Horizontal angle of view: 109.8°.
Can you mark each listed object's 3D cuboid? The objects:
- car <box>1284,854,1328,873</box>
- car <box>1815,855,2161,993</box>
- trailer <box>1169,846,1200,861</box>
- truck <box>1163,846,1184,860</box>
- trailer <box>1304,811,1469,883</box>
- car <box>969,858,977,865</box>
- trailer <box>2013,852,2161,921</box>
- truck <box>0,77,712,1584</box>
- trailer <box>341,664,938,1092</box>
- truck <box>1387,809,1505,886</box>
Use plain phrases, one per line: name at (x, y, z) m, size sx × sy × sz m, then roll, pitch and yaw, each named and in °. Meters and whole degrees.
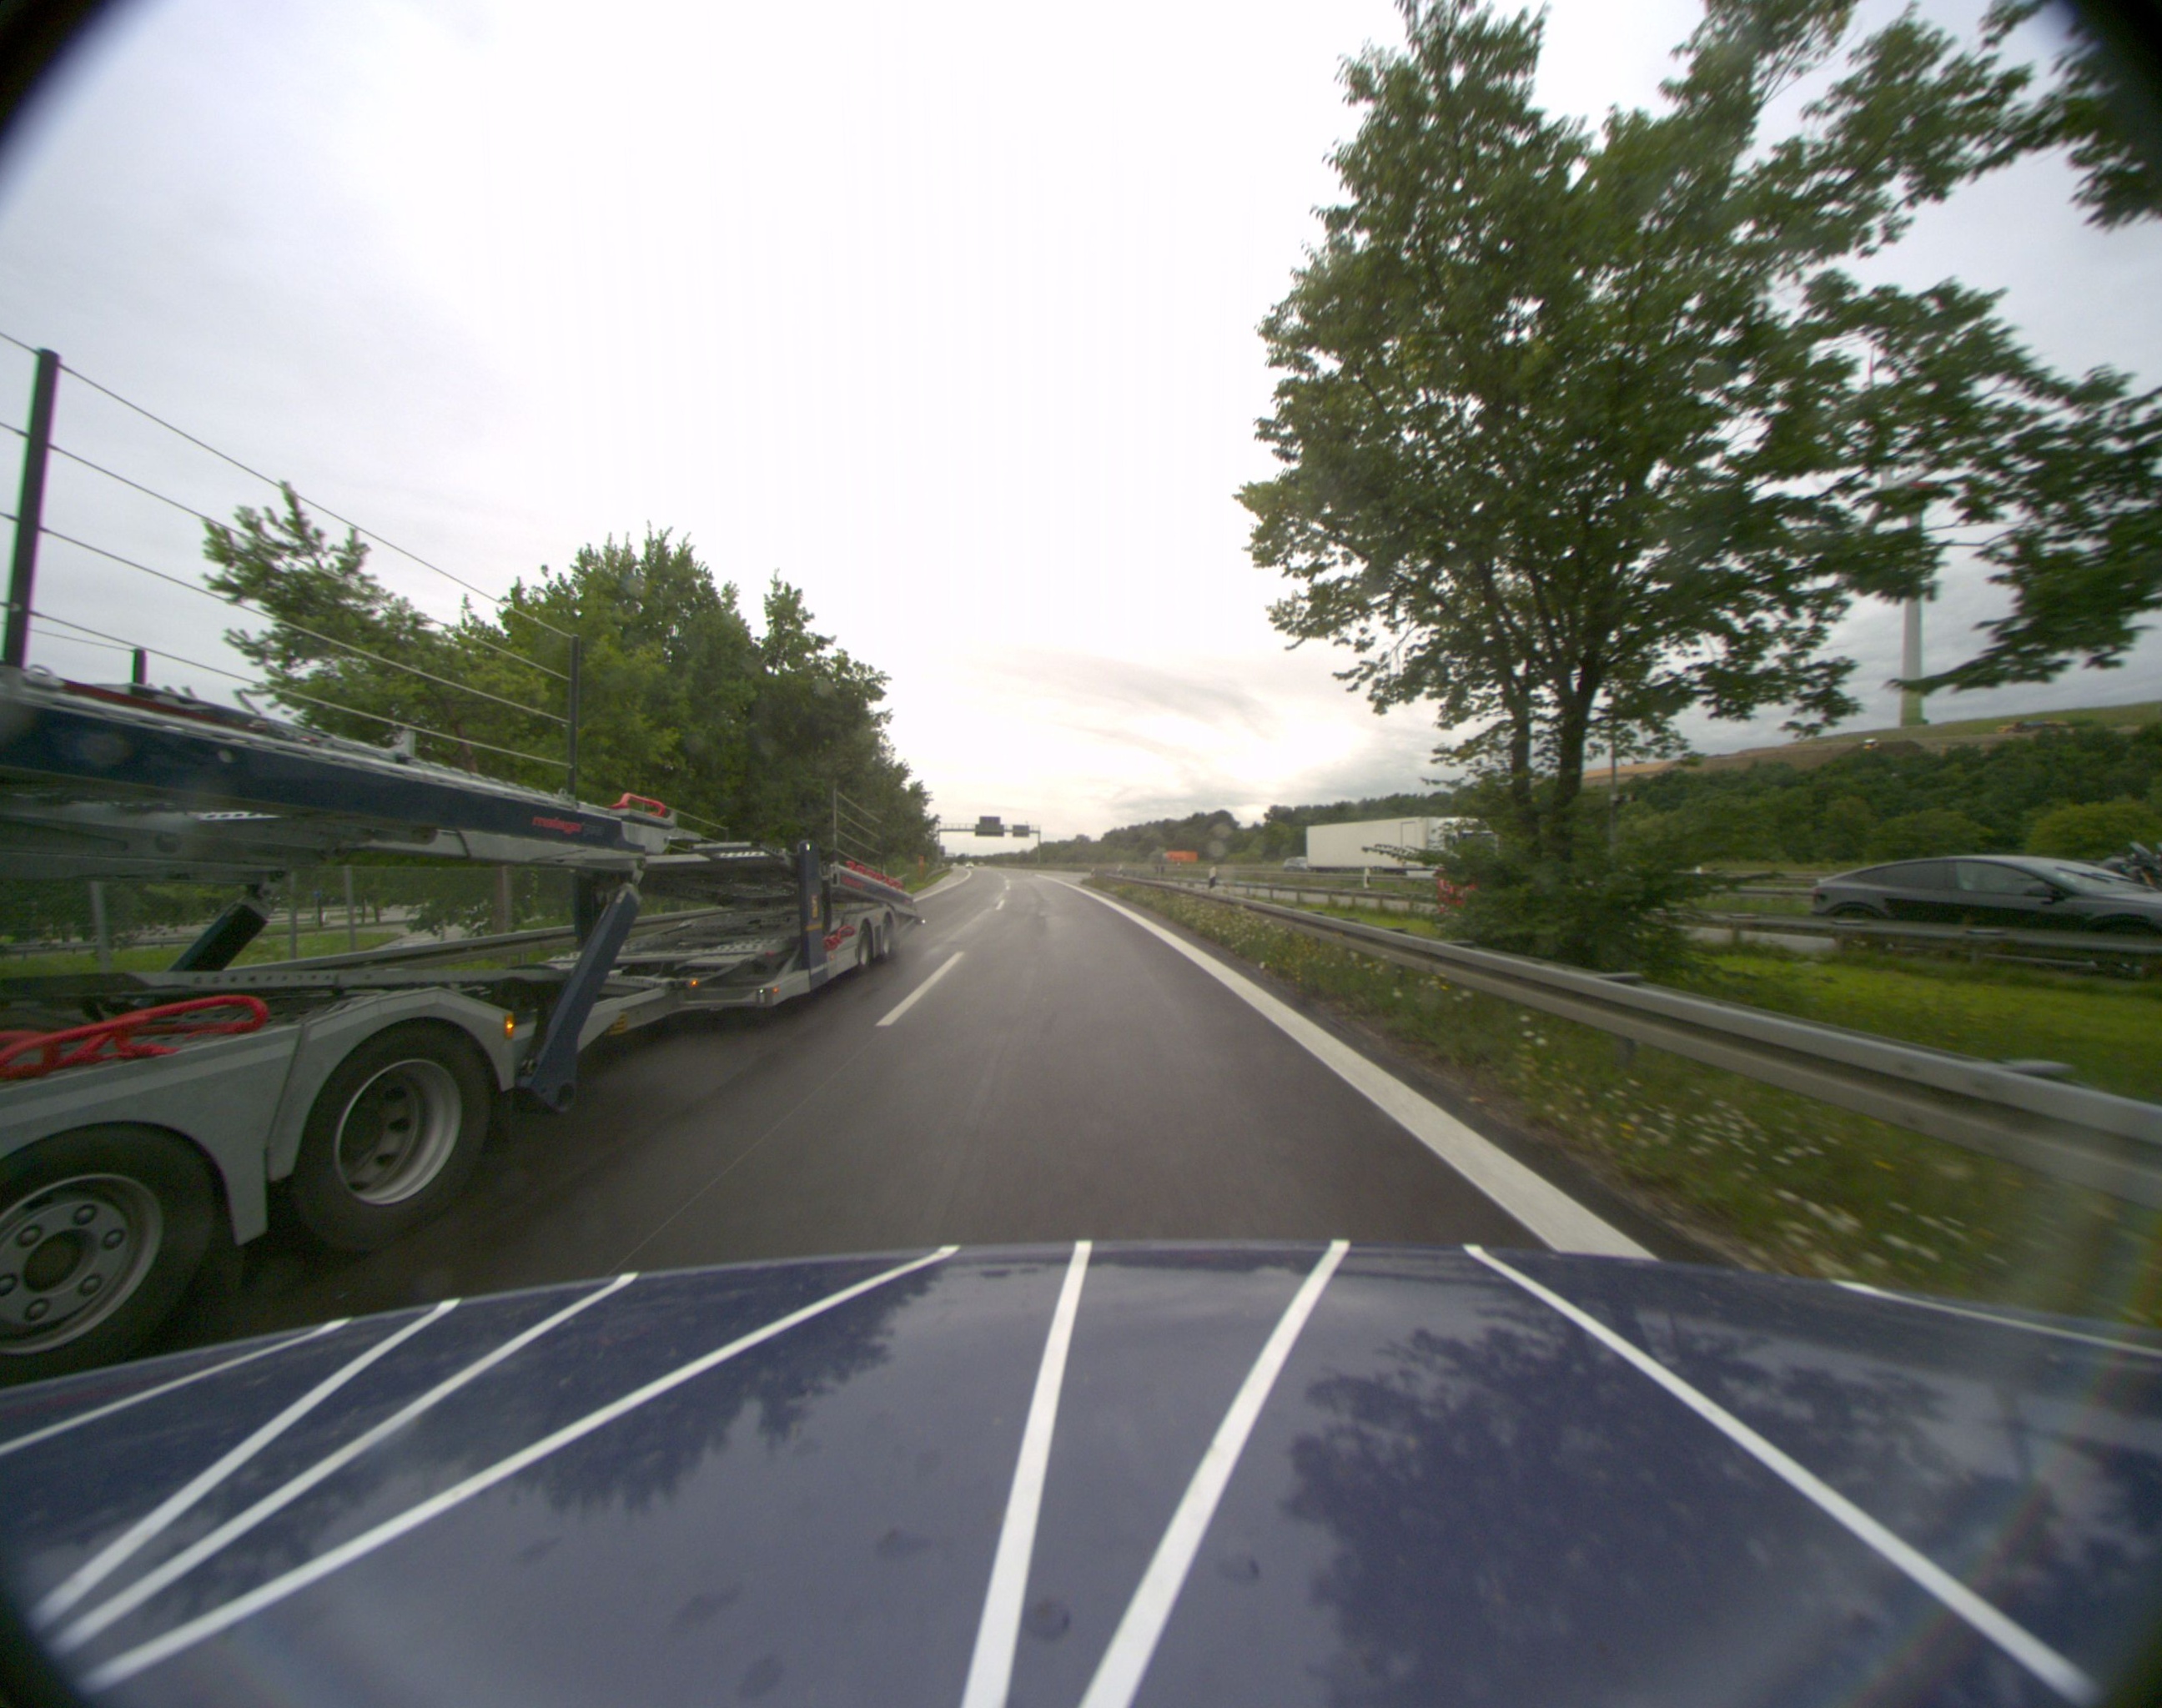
car at (20.534, 0.832, 69.533) m, size 1.905 × 1.641 × 4.480 m, roll -1°, pitch 0°, yaw -13°
car at (13.984, 0.872, 10.988) m, size 1.968 × 1.628 × 4.549 m, roll -1°, pitch 1°, yaw -11°
trailer at (22.969, -0.158, 170.036) m, size 2.695 × 3.056 × 12.551 m, roll -1°, pitch 1°, yaw -13°
truck at (21.504, -0.190, 176.536) m, size 2.695 × 3.056 × 6.447 m, roll -1°, pitch 1°, yaw -13°
trailer at (19.641, -0.405, 50.540) m, size 2.776 × 4.111 × 13.936 m, roll -1°, pitch 0°, yaw -12°
car at (-28.727, 2.047, 201.423) m, size 1.631 × 1.632 × 3.772 m, roll -1°, pitch 1°, yaw -14°
trailer at (26.969, 0.788, 19.361) m, size 1.889 × 1.617 × 3.606 m, roll -1°, pitch 1°, yaw -12°
truck at (-4.177, -0.073, 1.093) m, size 2.746 × 3.944 × 9.128 m, roll -3°, pitch -1°, yaw -1°
trailer at (-4.387, 0.191, 11.106) m, size 2.785 × 3.265 × 10.405 m, roll -1°, pitch 0°, yaw -1°
truck at (21.022, -0.372, 44.178) m, size 2.776 × 4.111 × 6.438 m, roll -1°, pitch 0°, yaw -12°
